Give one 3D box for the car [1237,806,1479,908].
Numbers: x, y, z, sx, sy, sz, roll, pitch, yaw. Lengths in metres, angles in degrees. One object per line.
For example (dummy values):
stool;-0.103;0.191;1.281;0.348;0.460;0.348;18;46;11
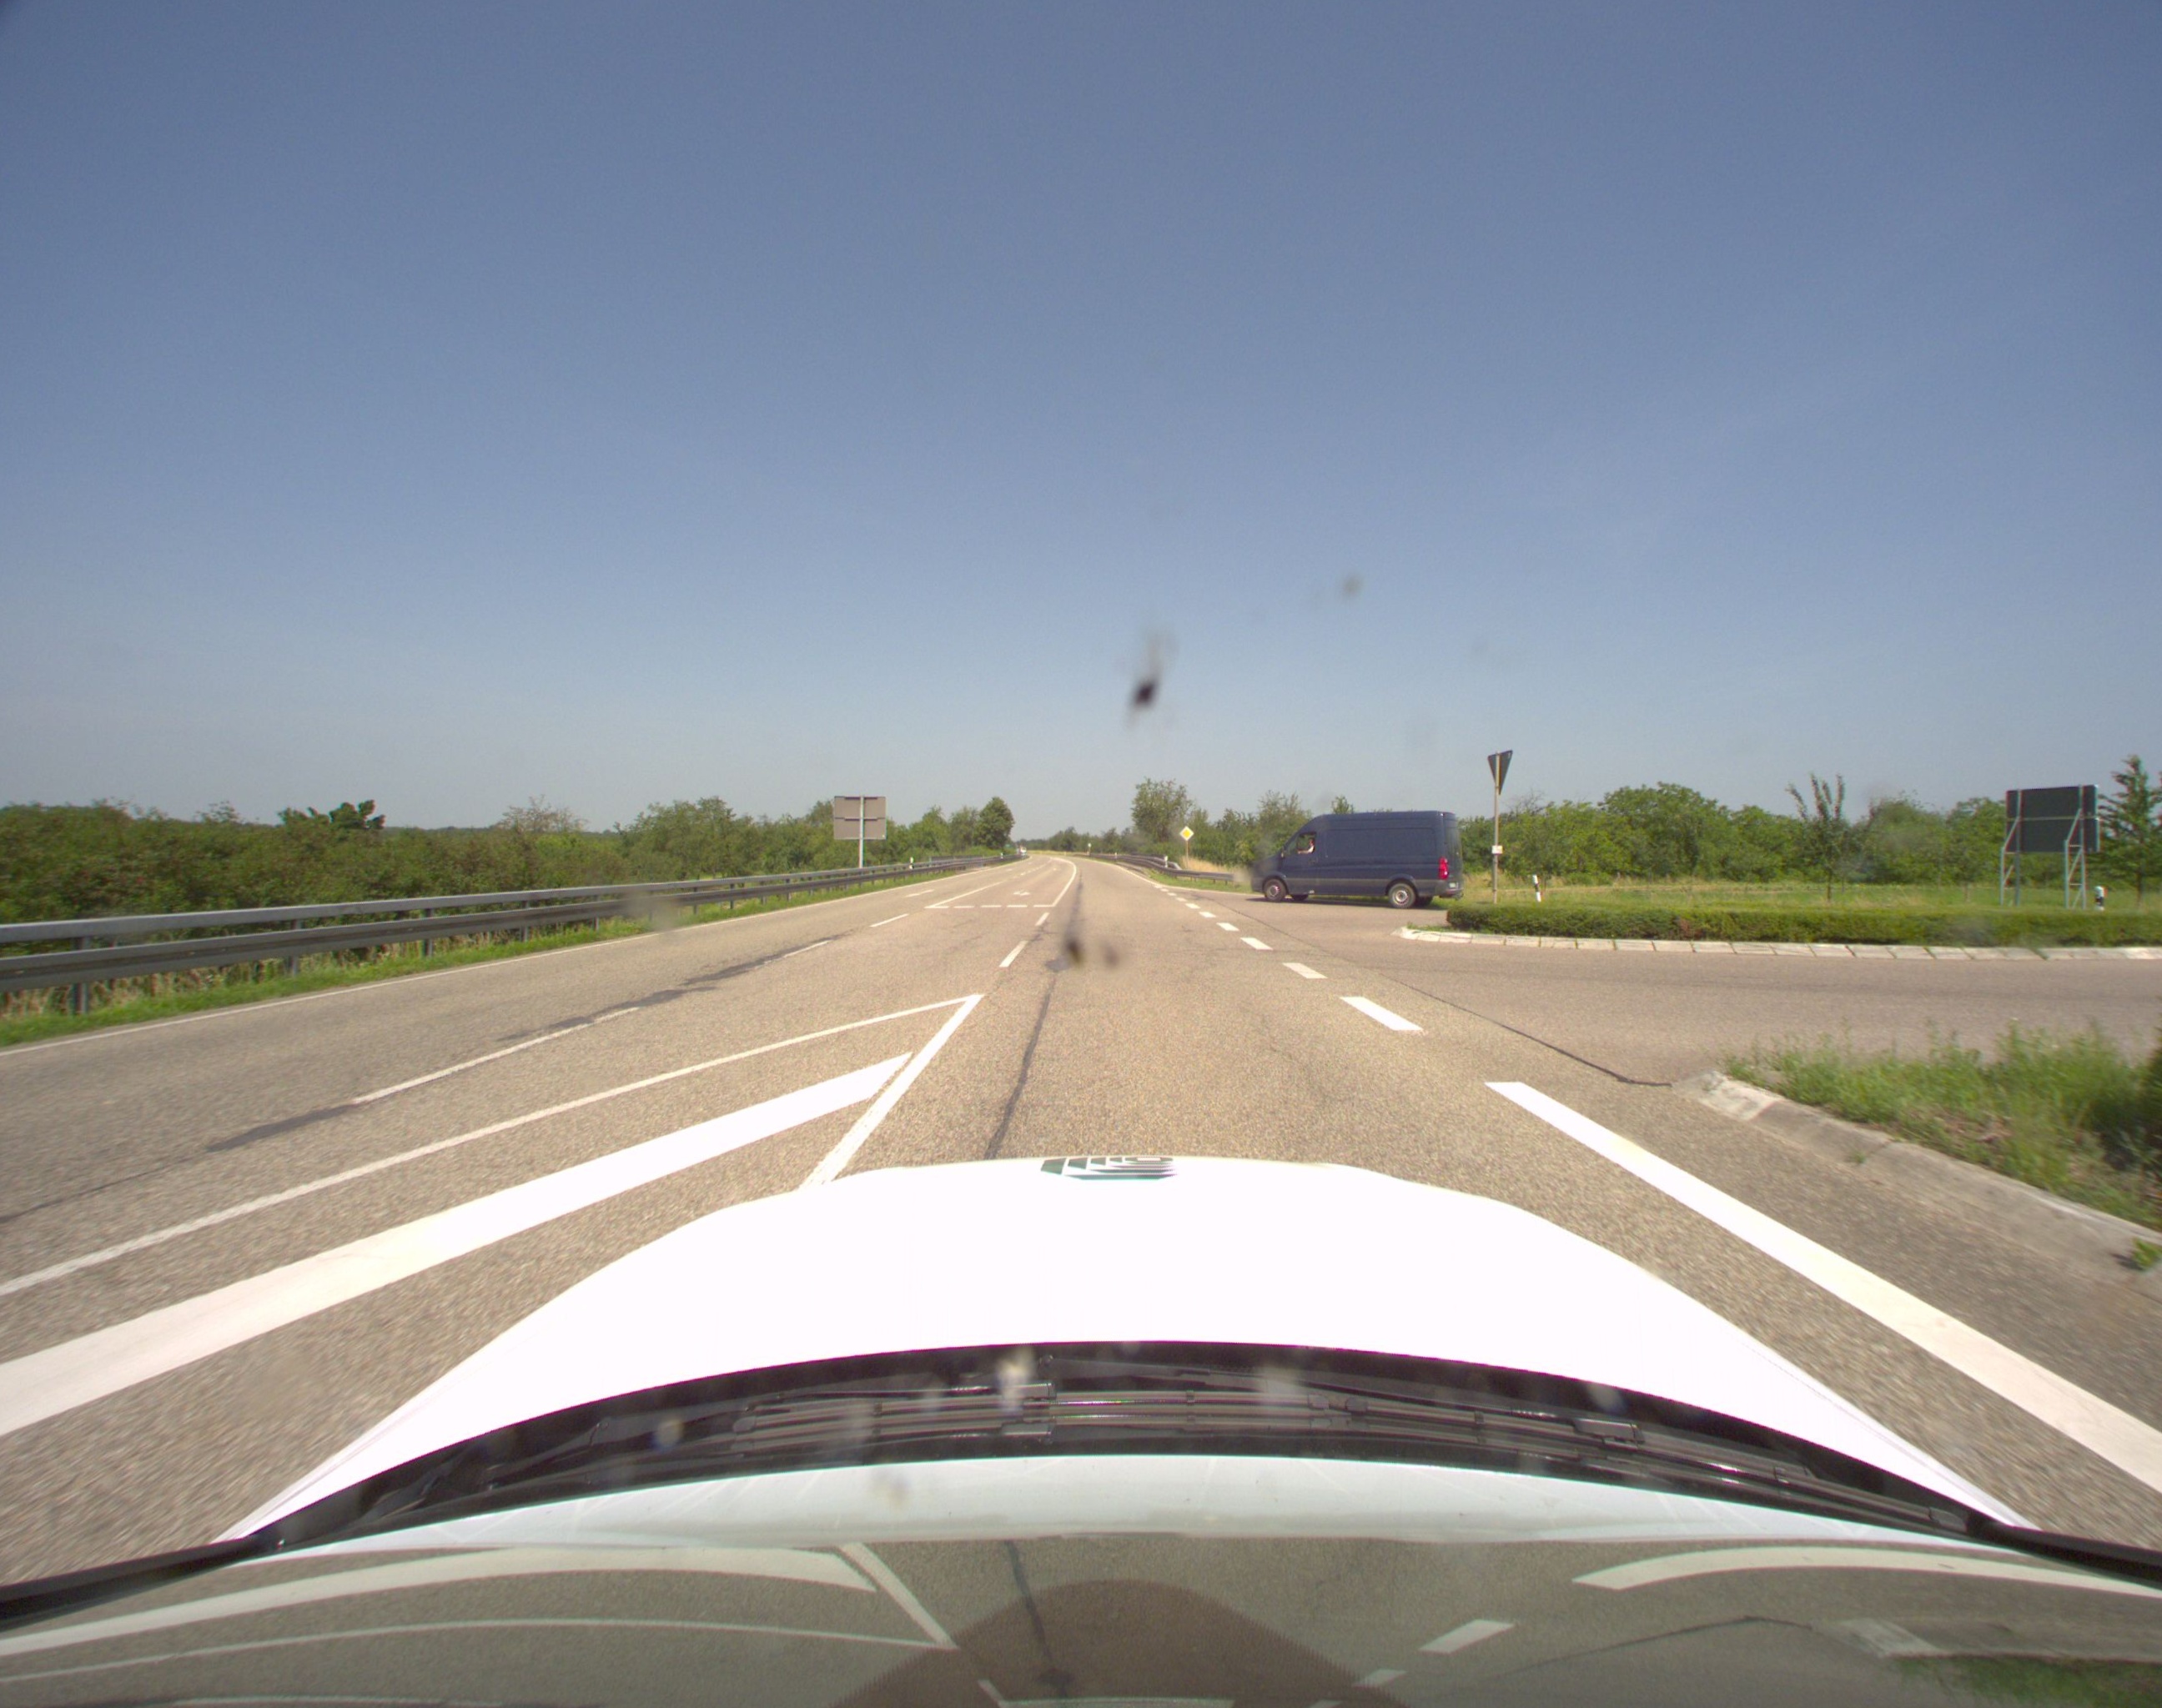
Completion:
car;7.784;0.065;23.322;6.231;2.575;2.075;0;0;37
